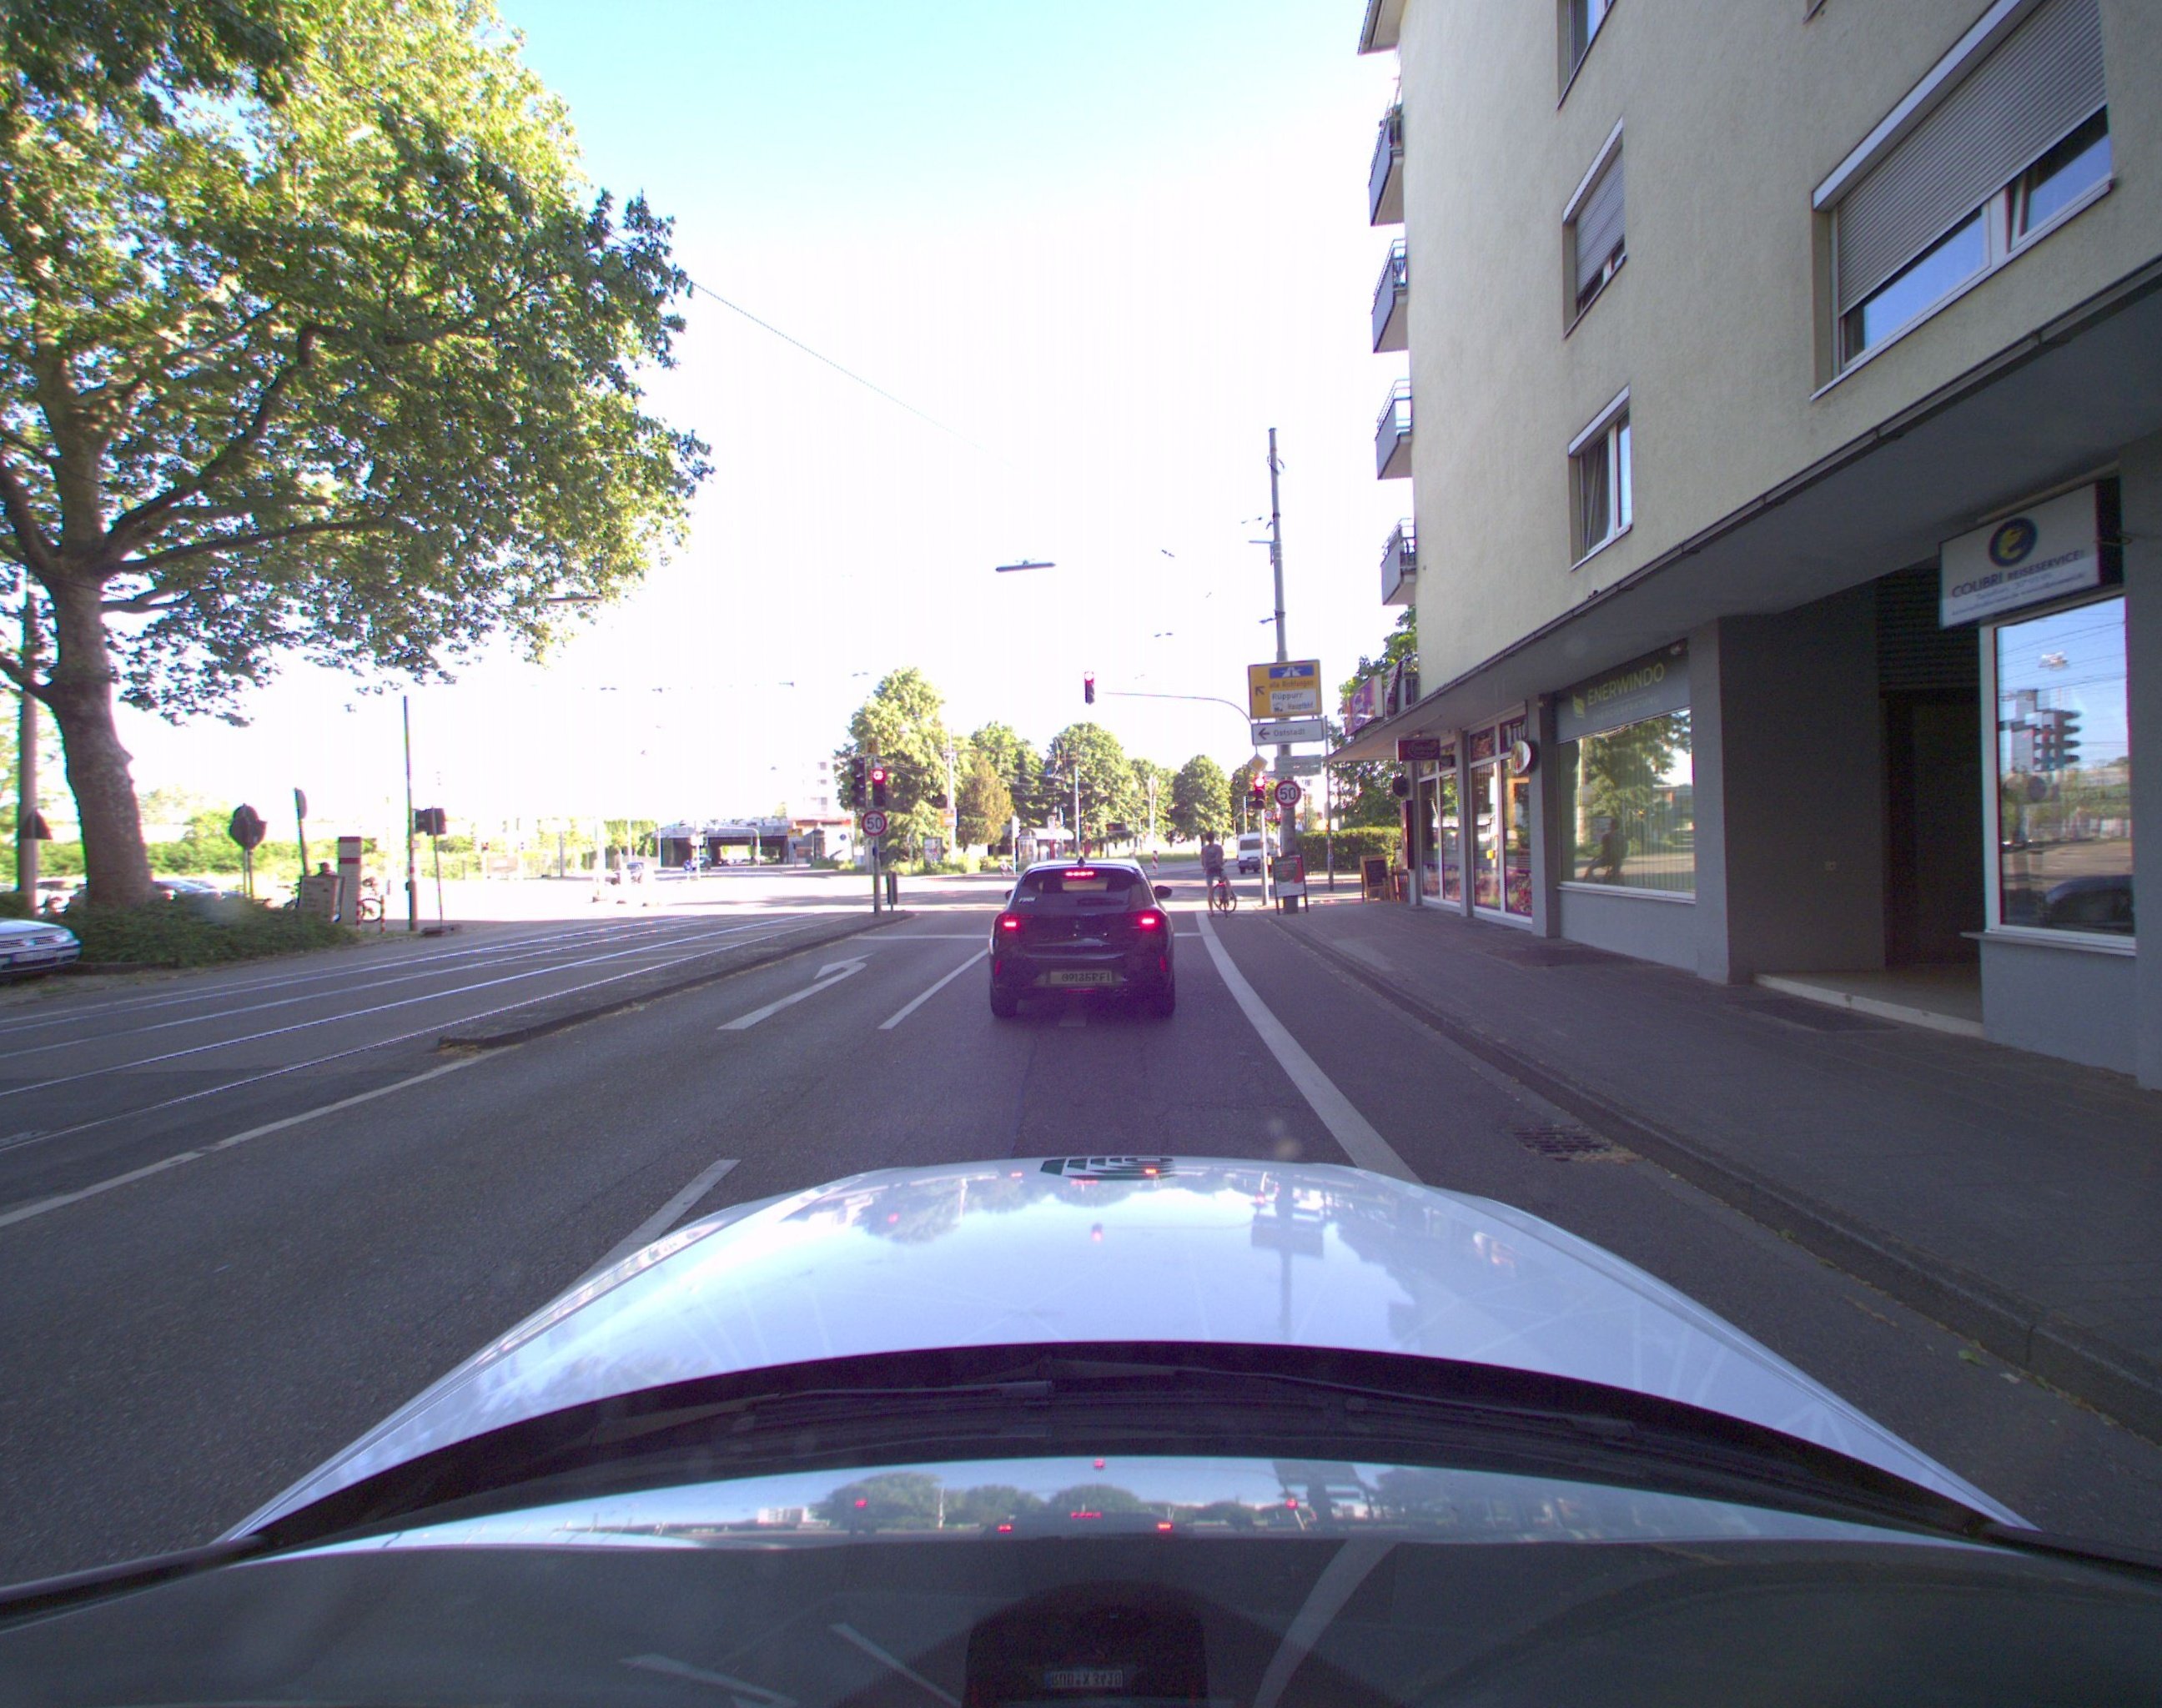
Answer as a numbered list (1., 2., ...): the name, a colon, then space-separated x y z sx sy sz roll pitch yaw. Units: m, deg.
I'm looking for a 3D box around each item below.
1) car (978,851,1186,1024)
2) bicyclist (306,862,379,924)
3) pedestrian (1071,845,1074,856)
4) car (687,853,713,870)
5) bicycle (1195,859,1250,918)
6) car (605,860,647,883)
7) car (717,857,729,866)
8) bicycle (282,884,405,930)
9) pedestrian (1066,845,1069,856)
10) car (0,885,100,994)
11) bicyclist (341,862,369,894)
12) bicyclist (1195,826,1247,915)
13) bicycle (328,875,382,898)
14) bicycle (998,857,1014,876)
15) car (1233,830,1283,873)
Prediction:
1. car: 0.084 0.696 8.917 1.720 1.429 4.189 -1 0 2
2. bicyclist: -19.211 0.994 21.224 1.117 1.520 0.915 -2 0 -21
3. pedestrian: -1.148 -0.497 112.845 0.411 1.412 0.436 0 -1 1
4. car: -44.008 0.857 94.024 2.227 1.823 4.106 -2 0 -31
5. bicycle: 3.047 0.719 17.753 0.857 1.153 2.172 -2 0 1
6. car: -31.284 1.156 56.098 1.830 1.519 3.870 0 0 -18
7. car: -69.808 1.518 158.888 2.003 1.602 4.213 -2 0 -24
8. bicycle: -19.188 1.368 21.251 2.199 1.033 0.828 -2 0 -21
9. pedestrian: -1.845 -0.499 113.003 0.411 1.412 0.436 0 -1 -1
10. car: -16.958 1.198 11.359 4.497 1.429 1.676 0 0 0
11. bicyclist: -38.373 1.259 43.029 0.862 1.595 0.646 -2 0 -13
12. bicyclist: 3.033 0.354 17.727 0.938 1.851 0.864 -2 0 1
13. bicycle: -38.330 1.714 43.027 2.057 1.094 0.590 -2 0 -13
14. bicycle: -4.303 0.725 46.734 0.603 1.031 1.983 -2 0 2
15. car: 10.148 -0.153 46.378 2.046 2.248 4.912 -2 0 20
